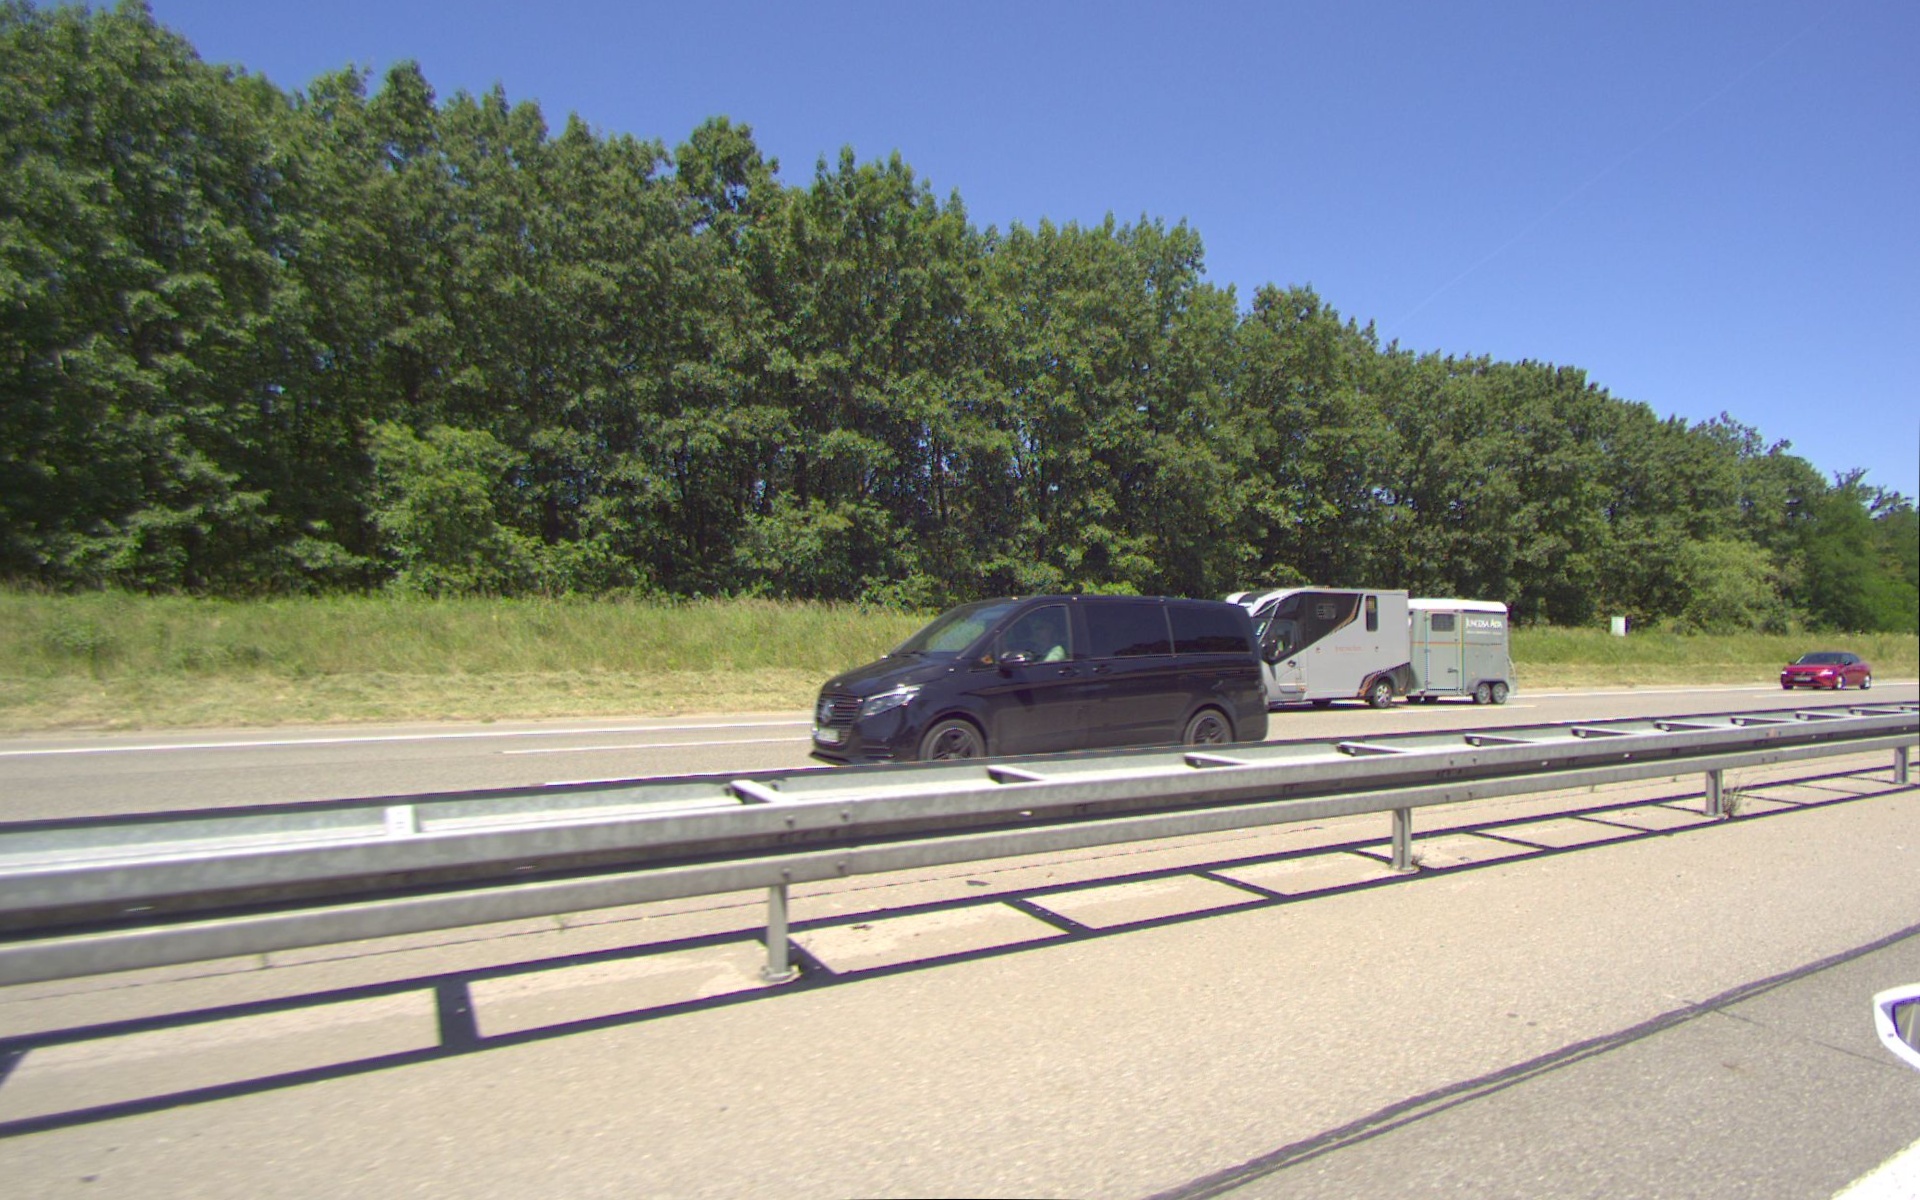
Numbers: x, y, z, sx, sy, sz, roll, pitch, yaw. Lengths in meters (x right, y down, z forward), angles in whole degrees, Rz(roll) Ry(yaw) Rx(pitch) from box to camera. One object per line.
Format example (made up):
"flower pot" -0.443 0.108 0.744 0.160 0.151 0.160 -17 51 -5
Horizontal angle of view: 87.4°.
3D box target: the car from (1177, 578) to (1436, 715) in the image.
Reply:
"car" 8.288 1.106 23.806 6.380 2.895 2.202 2 -3 -31

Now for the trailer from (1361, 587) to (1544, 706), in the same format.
"trailer" 13.044 1.225 26.568 4.532 2.895 2.202 2 -3 -31

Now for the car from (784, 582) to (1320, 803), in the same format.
"car" 1.166 0.894 10.813 5.766 1.871 1.867 2 -3 -31

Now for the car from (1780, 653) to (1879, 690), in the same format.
"car" 33.001 2.679 38.111 4.085 1.292 1.631 2 -3 -31
